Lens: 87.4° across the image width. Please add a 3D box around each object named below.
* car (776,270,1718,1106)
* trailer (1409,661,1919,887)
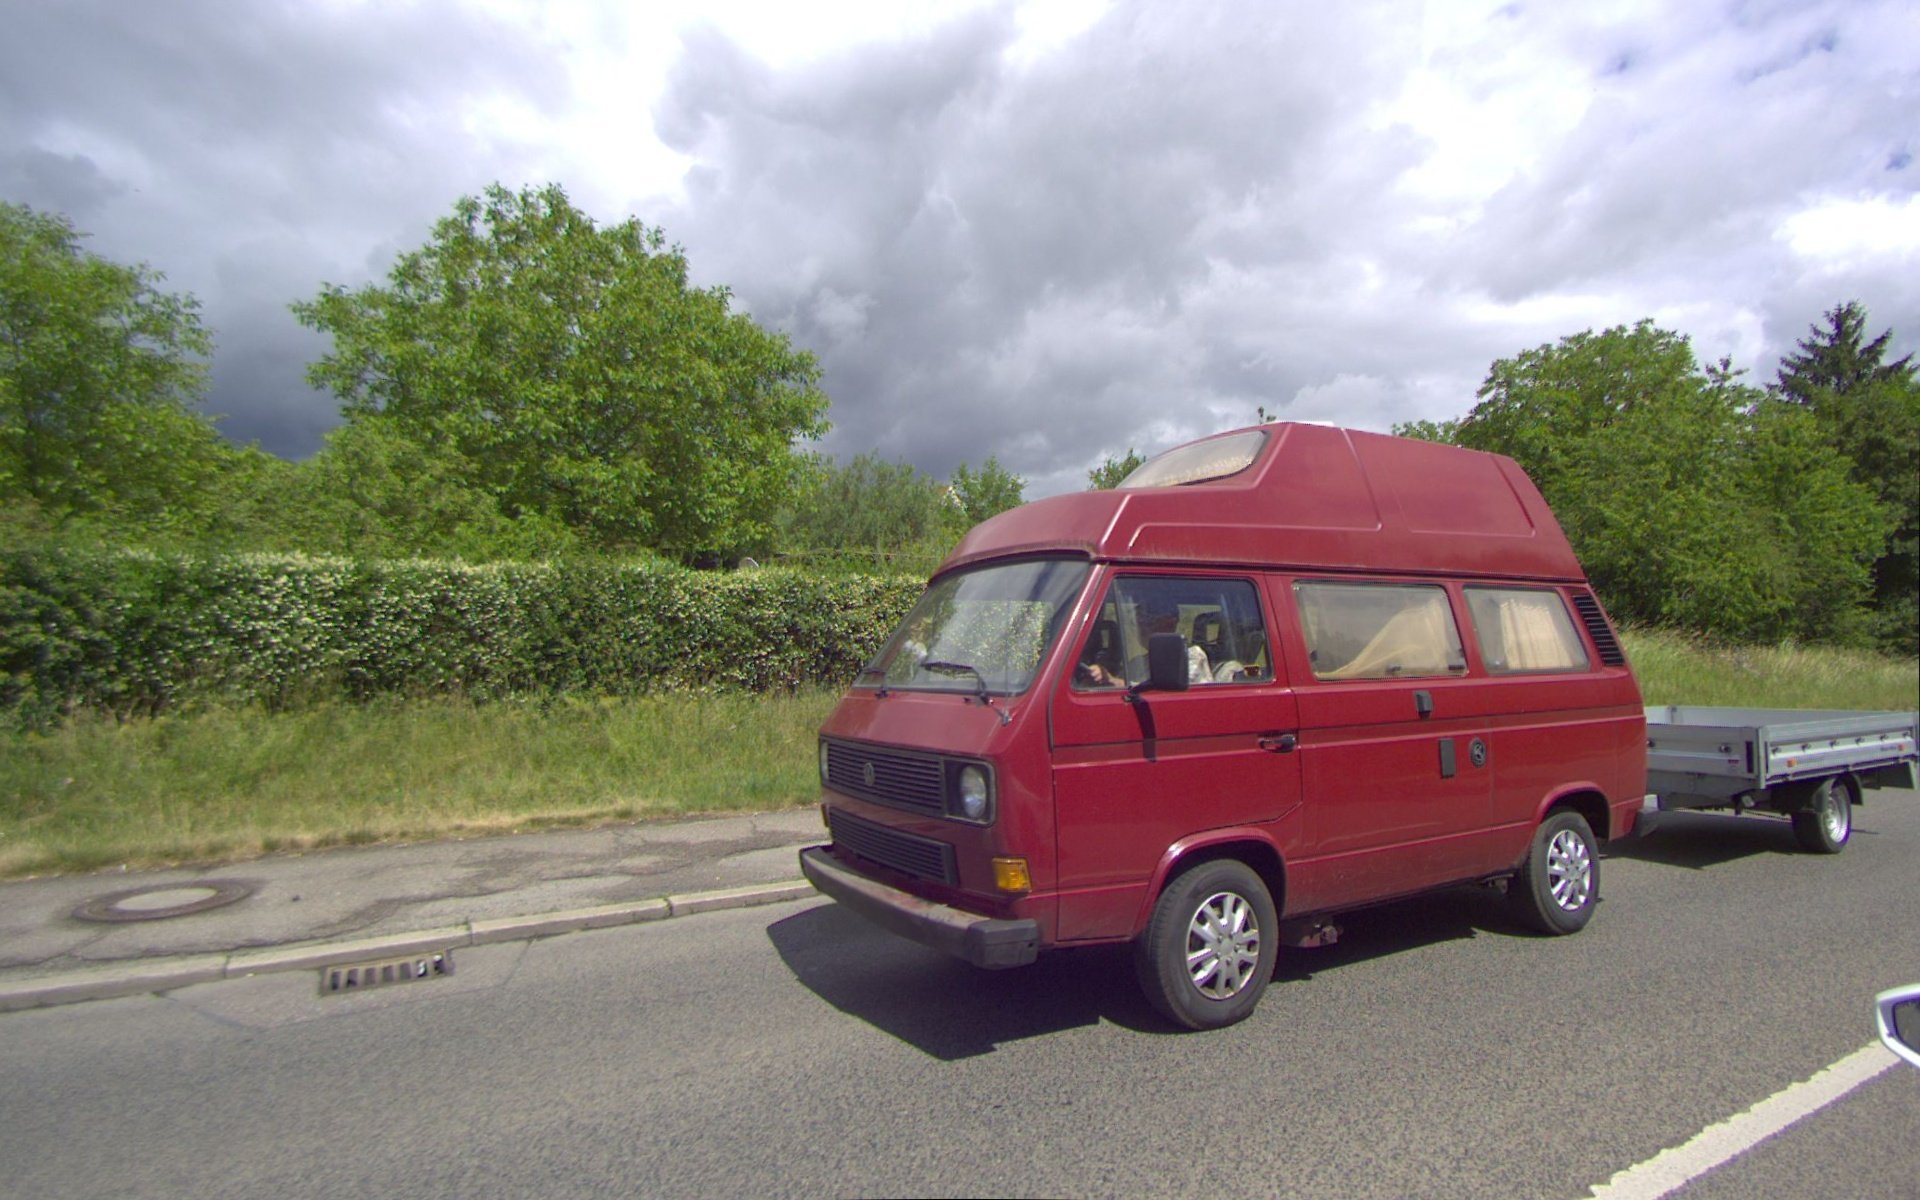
[{"bbox_3d":[1.615,0.343,5.168,4.670,2.583,1.960,1,-4,-31],"label":"car"},{"bbox_3d":[5.419,1.098,7.502,3.872,1.216,1.883,1,-4,-31],"label":"trailer"}]
